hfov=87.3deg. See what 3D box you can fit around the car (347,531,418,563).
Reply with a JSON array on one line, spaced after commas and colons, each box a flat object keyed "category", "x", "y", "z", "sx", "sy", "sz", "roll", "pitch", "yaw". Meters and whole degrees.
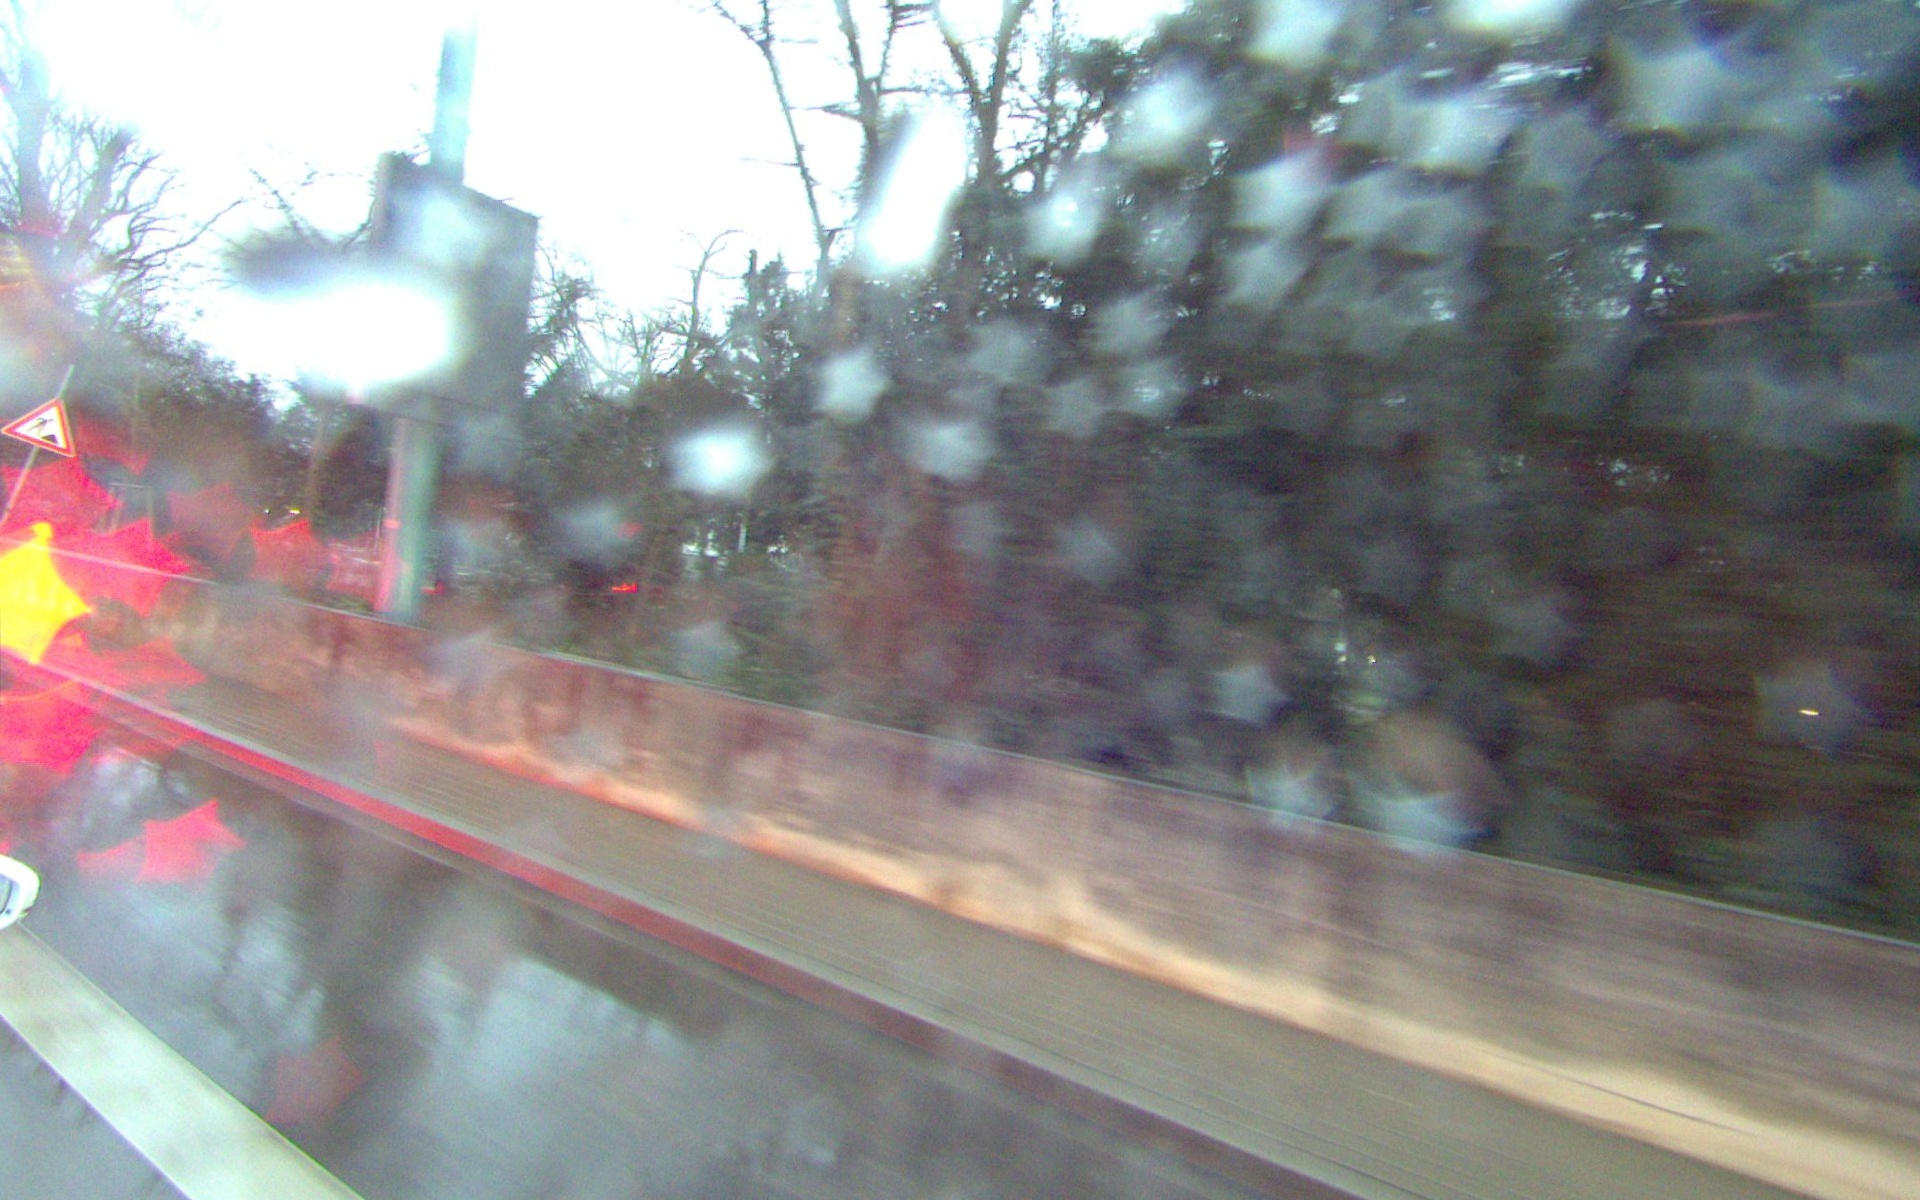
[{"category": "car", "x": -42.195, "y": -3.845, "z": 73.522, "sx": 3.929, "sy": 1.681, "sz": 1.818, "roll": 8, "pitch": -1, "yaw": -4}]
